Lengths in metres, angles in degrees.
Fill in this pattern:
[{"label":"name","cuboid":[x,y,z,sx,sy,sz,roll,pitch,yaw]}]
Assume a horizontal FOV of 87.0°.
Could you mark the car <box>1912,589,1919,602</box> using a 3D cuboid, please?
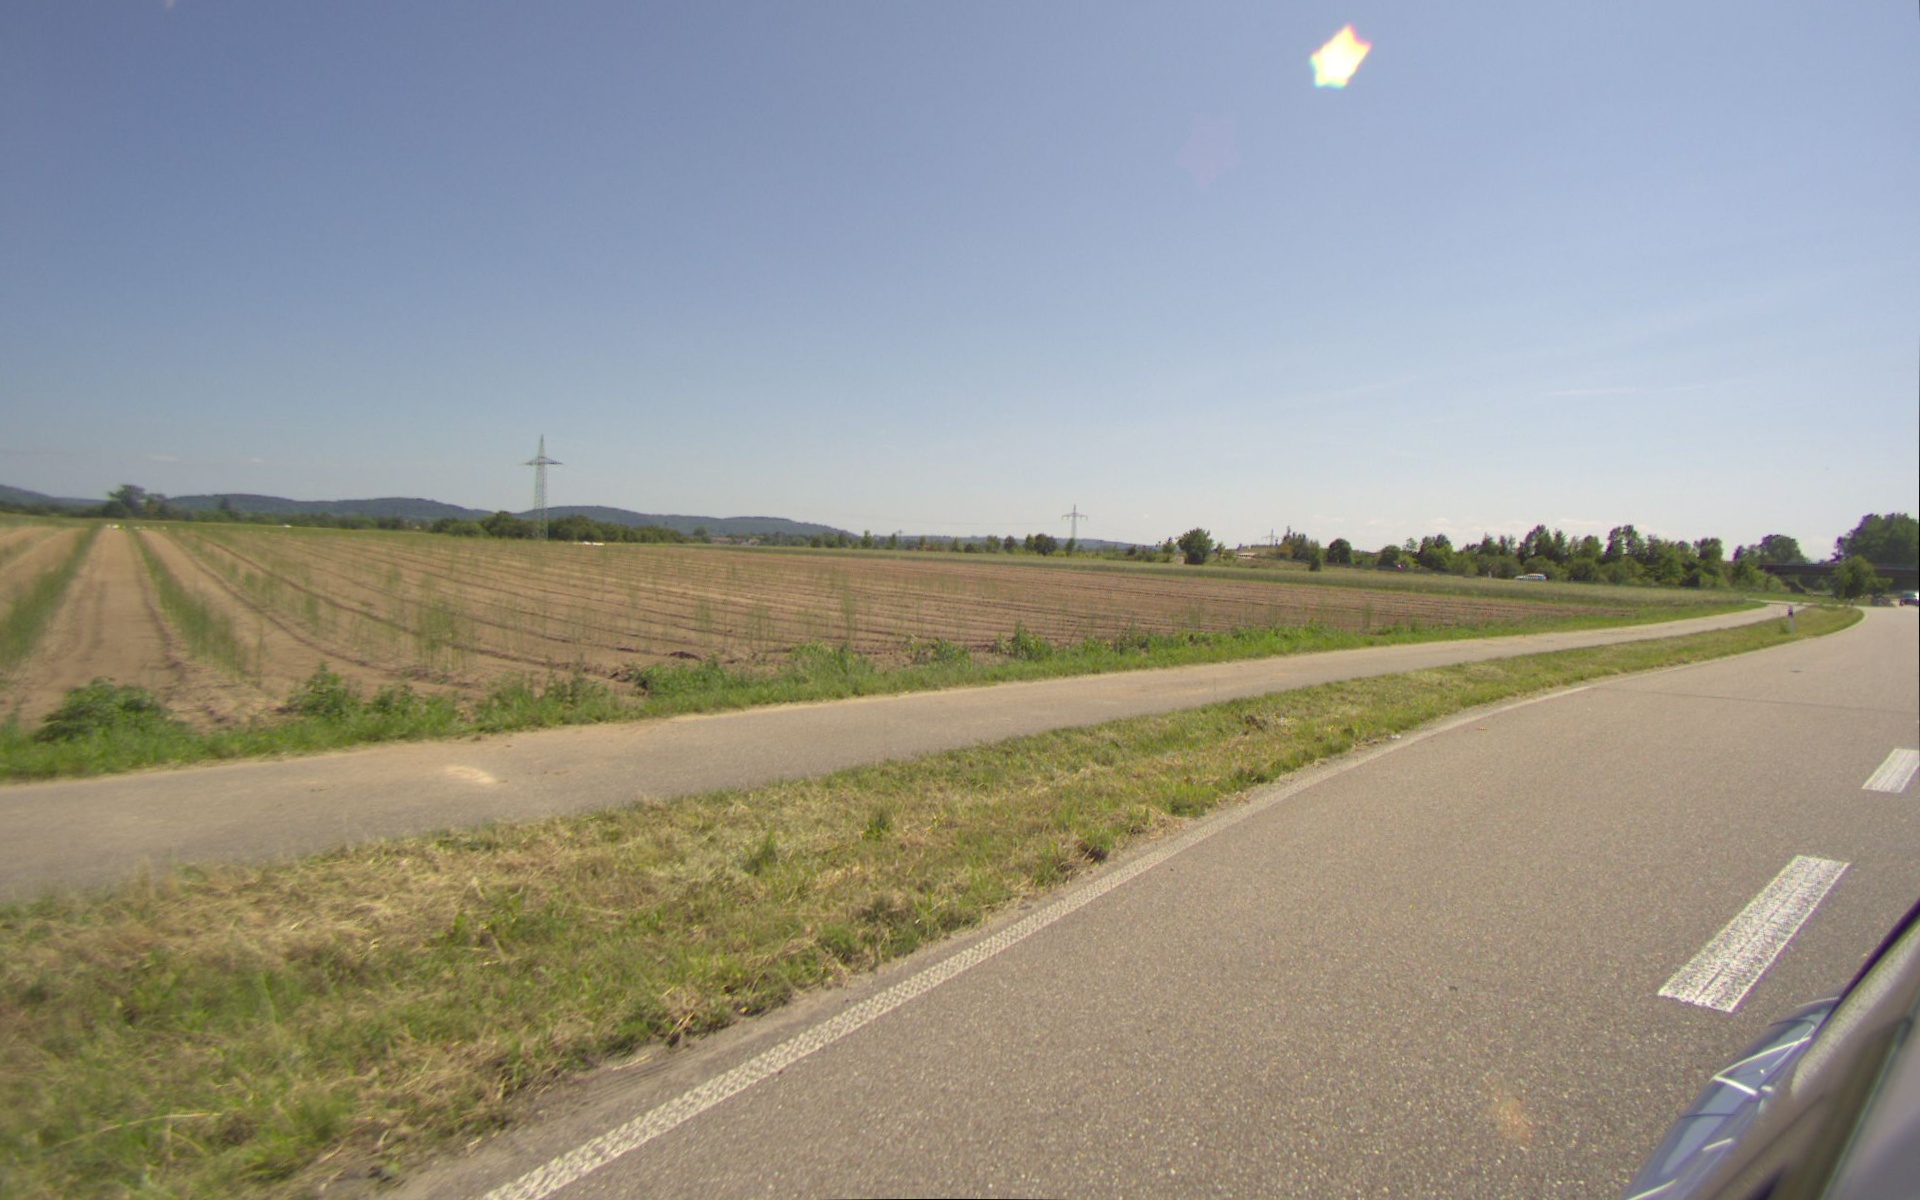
[{"label":"car","cuboid":[118.342,-0.563,124.254,1.978,1.616,5.318,2,2,43]}]
